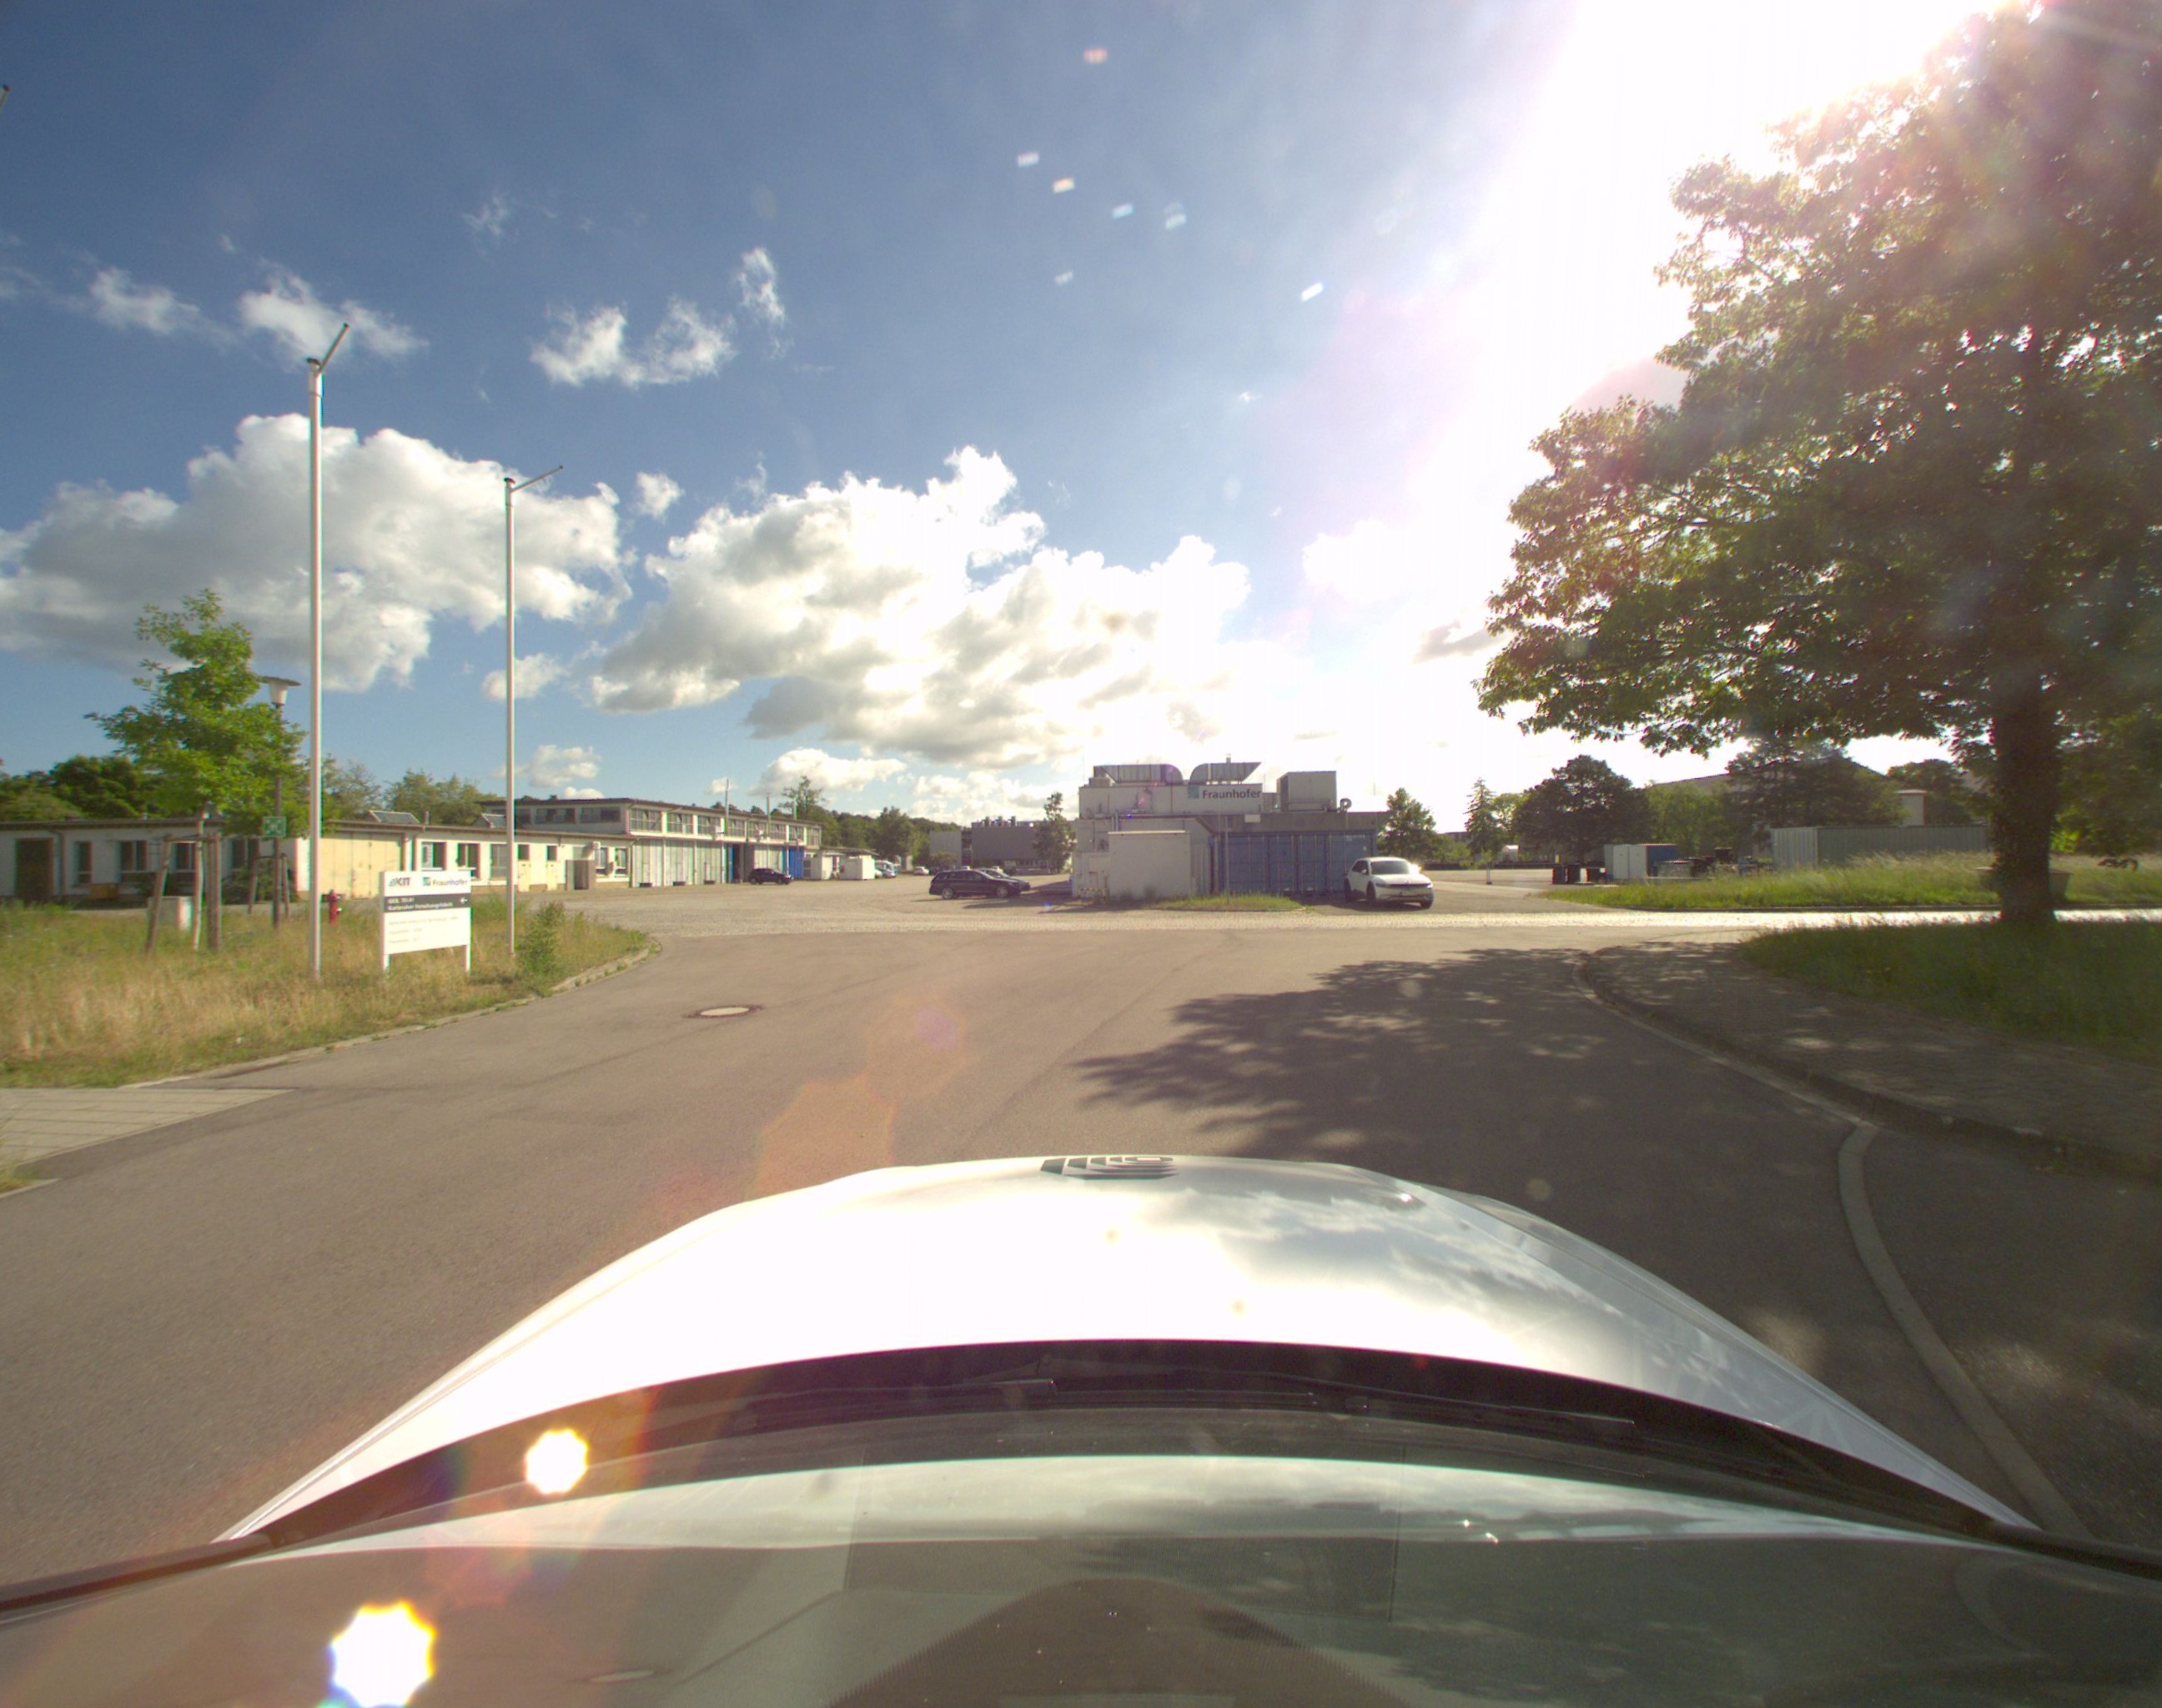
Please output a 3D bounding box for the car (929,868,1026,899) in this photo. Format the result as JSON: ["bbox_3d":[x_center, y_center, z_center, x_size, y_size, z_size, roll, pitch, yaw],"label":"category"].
[{"bbox_3d":[-5.192,1.496,41.107,4.509,1.443,1.989,-1,-3,4],"label":"car"}]

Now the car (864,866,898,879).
[{"bbox_3d":[-27.764,2.563,113.105,4.086,1.630,1.812,-1,-1,8],"label":"car"}]

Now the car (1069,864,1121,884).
[{"bbox_3d":[1.207,1.717,68.534,4.260,1.569,1.989,-1,-3,4],"label":"car"}]

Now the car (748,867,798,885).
[{"bbox_3d":[-30.140,2.166,79.715,4.145,1.666,1.785,0,-1,2],"label":"car"}]

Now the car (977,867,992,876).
[{"bbox_3d":[-16.467,2.981,138.903,1.870,1.537,4.037,-3,-1,2],"label":"car"}]

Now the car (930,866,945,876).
[{"bbox_3d":[-24.575,2.859,139.322,1.872,1.537,4.034,-3,-1,-1],"label":"car"}]

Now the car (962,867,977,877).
[{"bbox_3d":[-19.007,3.044,139.214,1.870,1.689,4.037,-3,-1,2],"label":"car"}]

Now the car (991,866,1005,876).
[{"bbox_3d":[-14.140,2.863,138.981,1.870,1.537,4.037,-3,-1,2],"label":"car"}]

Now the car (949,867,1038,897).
[{"bbox_3d":[-4.707,1.532,44.344,4.509,1.443,1.906,-1,-3,4],"label":"car"}]

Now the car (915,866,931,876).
[{"bbox_3d":[-27.005,2.925,139.593,1.841,1.668,4.132,-3,-1,-1],"label":"car"}]

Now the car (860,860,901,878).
[{"bbox_3d":[-28.523,2.179,116.111,5.228,2.442,2.054,-1,-1,8],"label":"car"}]

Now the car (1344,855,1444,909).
[{"bbox_3d":[10.425,0.871,27.495,1.972,1.593,4.345,-1,0,4],"label":"car"}]
